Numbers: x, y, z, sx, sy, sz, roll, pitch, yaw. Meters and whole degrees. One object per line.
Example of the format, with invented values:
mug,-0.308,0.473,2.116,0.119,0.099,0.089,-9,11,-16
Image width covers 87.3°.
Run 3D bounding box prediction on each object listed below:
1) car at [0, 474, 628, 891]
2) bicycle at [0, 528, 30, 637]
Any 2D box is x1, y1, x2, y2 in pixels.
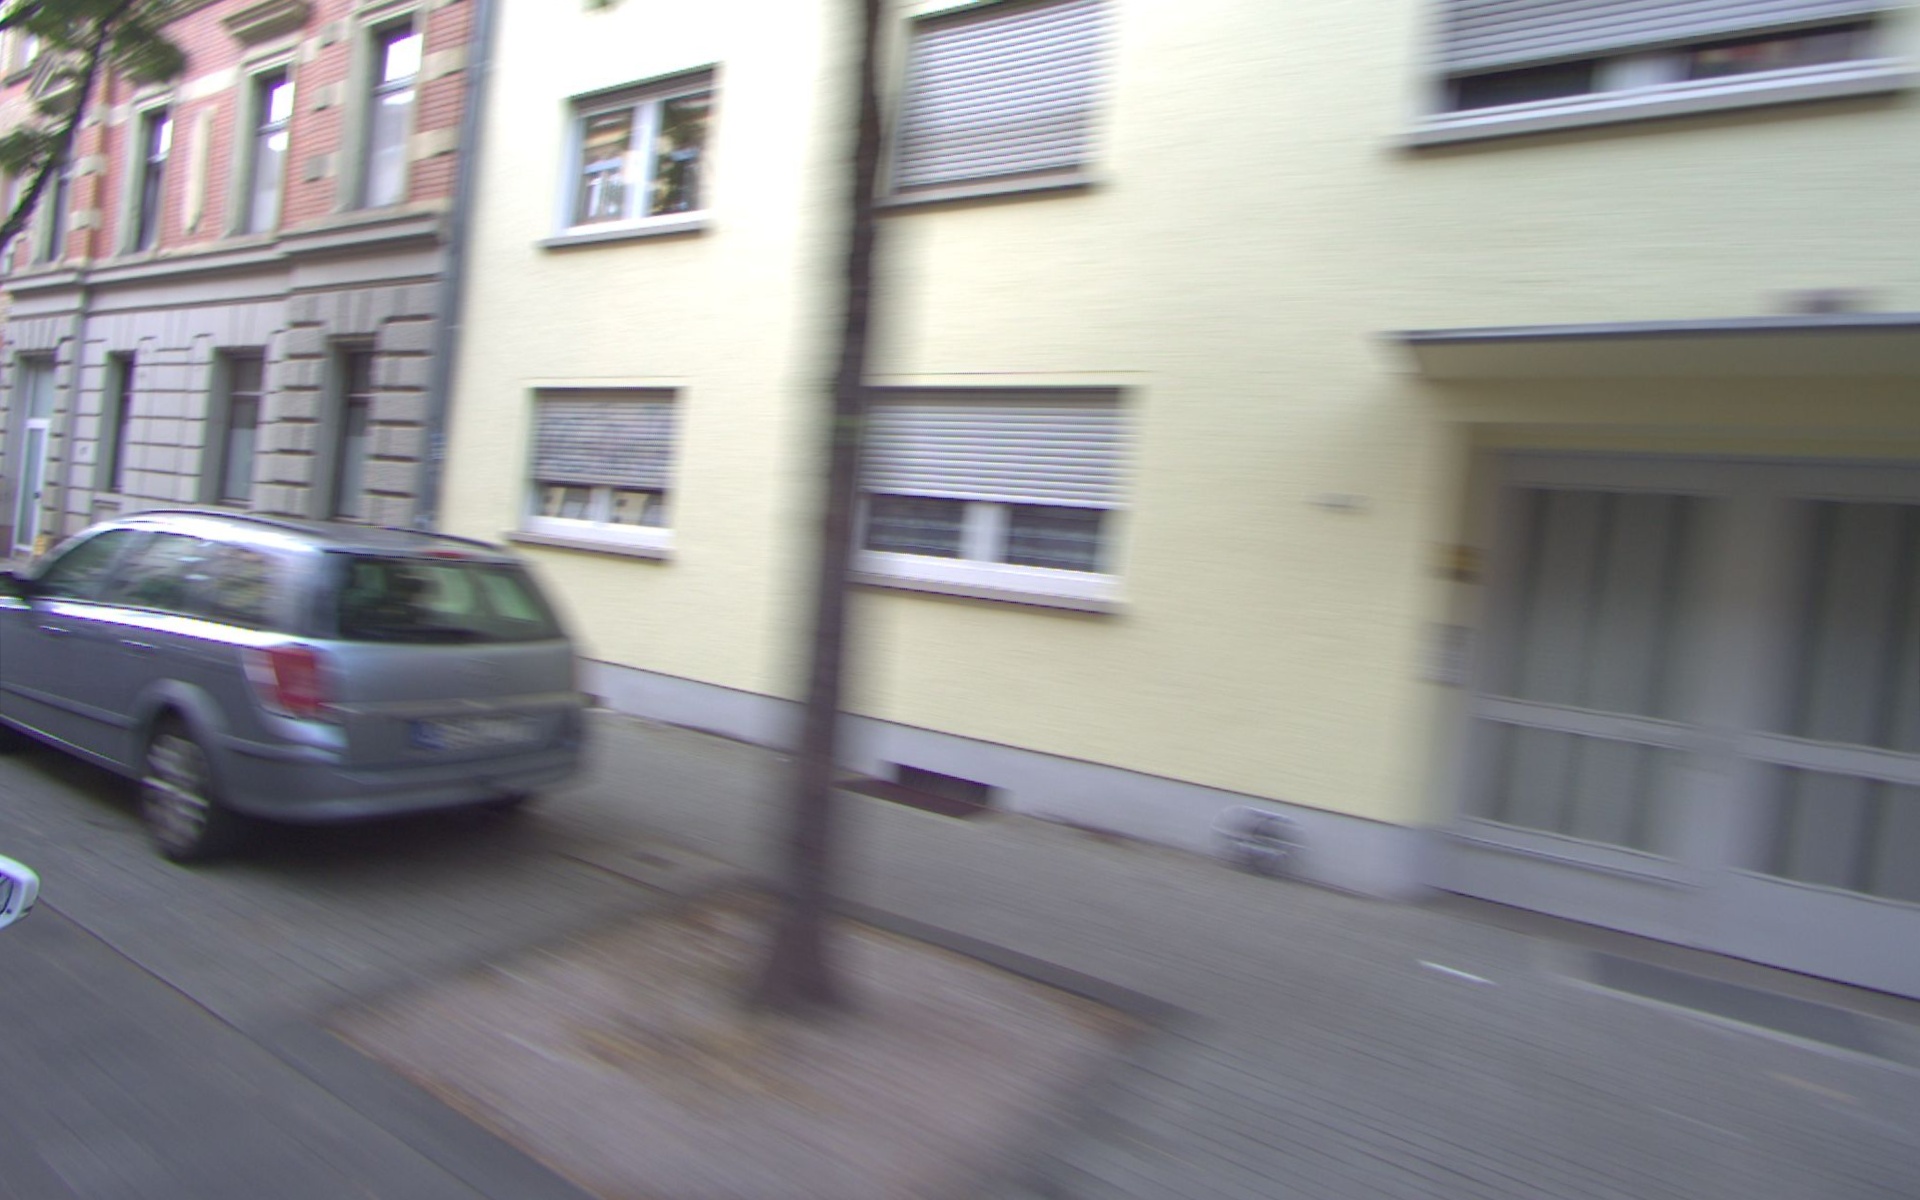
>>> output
car,-4.097,0.203,5.689,4.235,1.481,1.761,7,1,30
bicycle,-9.260,-0.210,8.560,0.626,0.994,1.922,7,0,10
